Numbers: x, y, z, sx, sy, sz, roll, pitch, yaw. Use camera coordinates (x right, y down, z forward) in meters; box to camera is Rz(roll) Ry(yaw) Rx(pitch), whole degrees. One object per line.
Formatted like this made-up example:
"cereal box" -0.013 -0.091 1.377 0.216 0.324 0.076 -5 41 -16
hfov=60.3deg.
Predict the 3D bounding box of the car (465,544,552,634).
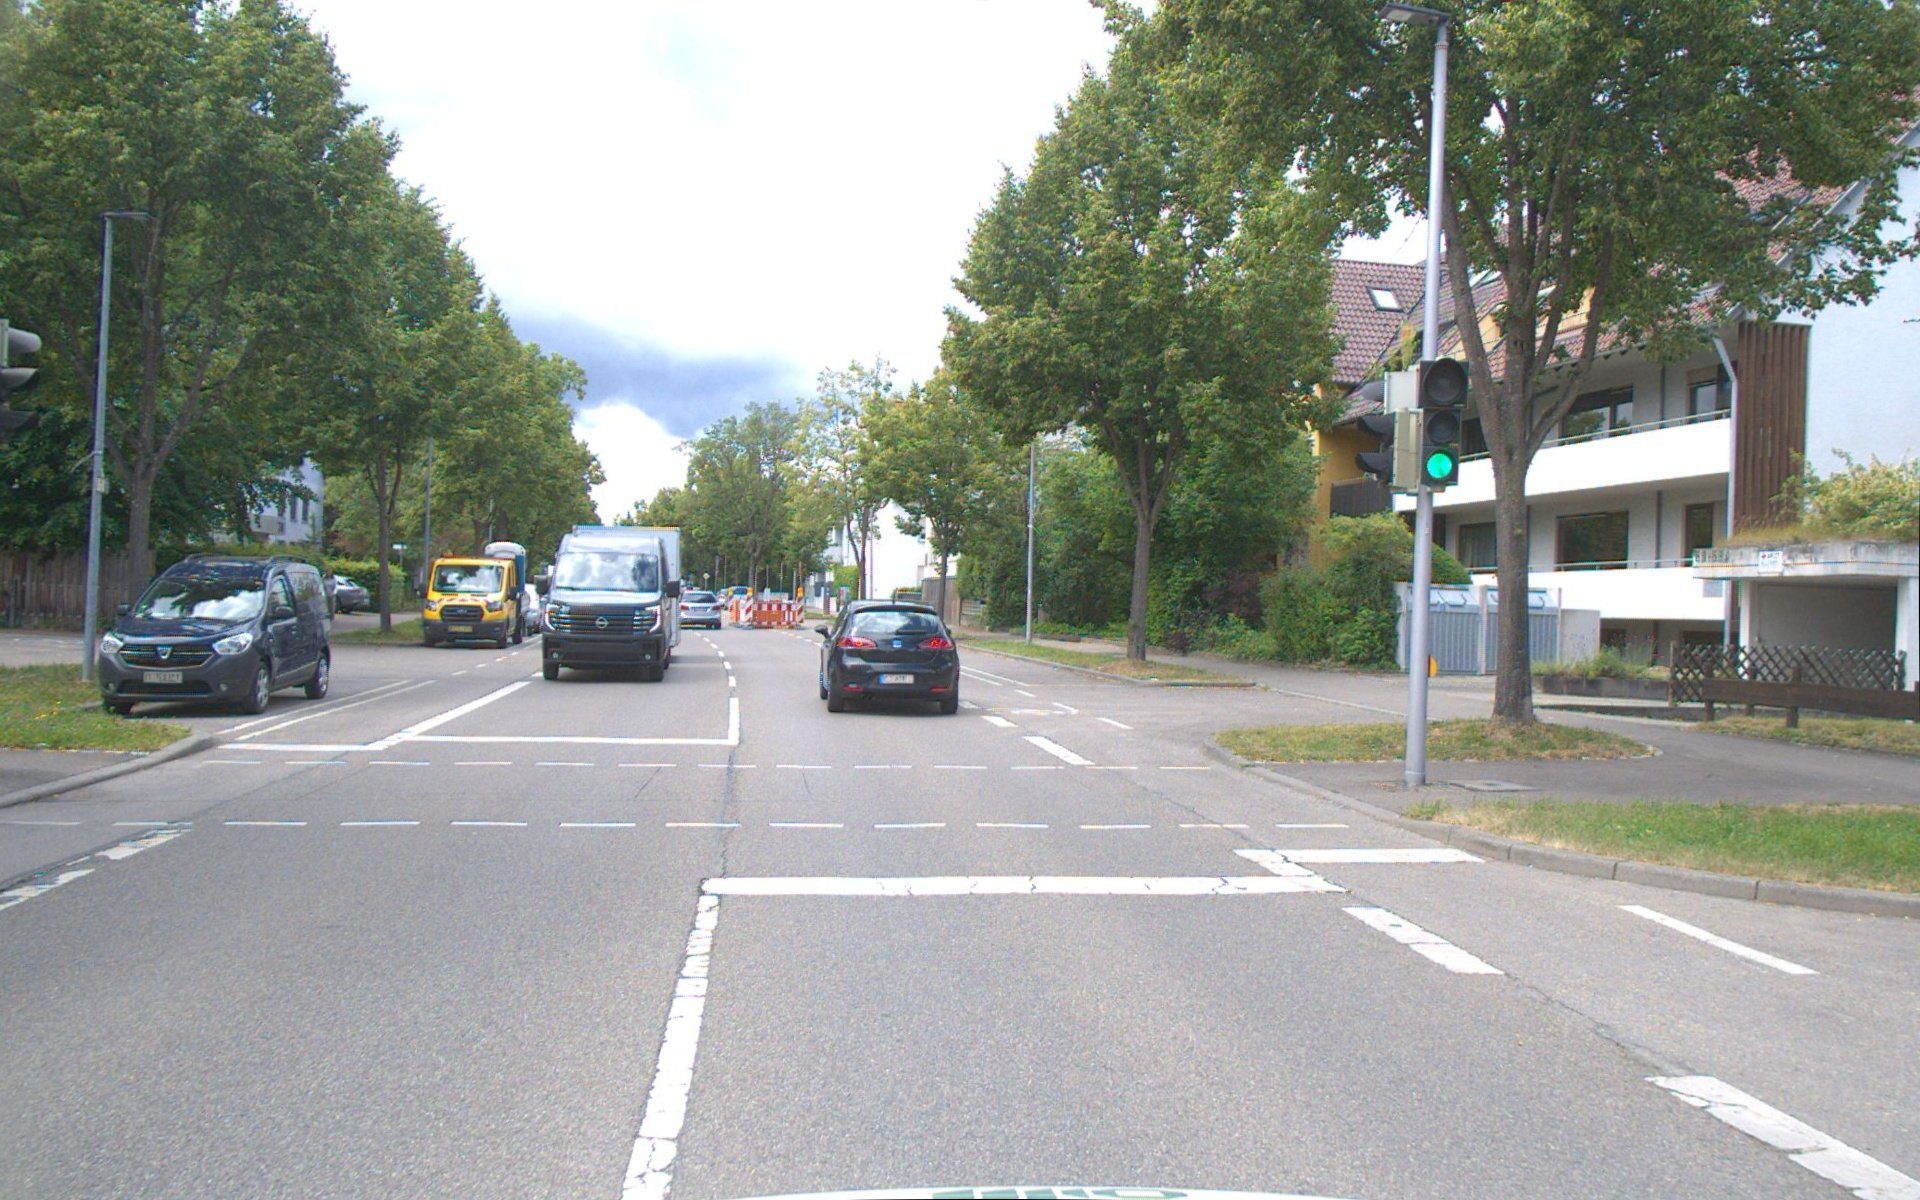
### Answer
"car" -14.235 -0.335 52.382 2.054 2.672 5.034 1 0 -9

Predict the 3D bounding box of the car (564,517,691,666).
"car" -6.955 -0.173 35.279 2.245 2.840 7.130 0 0 -8

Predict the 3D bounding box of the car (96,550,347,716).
"car" -8.891 0.349 20.304 1.636 1.803 4.459 0 0 -8

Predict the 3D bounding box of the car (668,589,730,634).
"car" -10.424 0.439 65.784 1.876 1.715 3.721 1 0 -18

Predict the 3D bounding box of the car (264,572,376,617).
"car" -24.025 -0.209 62.217 3.614 1.622 1.675 1 0 -9

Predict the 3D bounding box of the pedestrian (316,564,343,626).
"pedestrian" -18.311 -0.146 48.037 0.584 1.772 0.573 1 0 -10

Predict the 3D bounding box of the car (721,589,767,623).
"car" -9.780 0.250 74.649 1.778 1.440 3.682 1 0 -12

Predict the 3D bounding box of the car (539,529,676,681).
"car" -6.099 0.071 29.154 1.991 2.426 5.252 0 0 -8

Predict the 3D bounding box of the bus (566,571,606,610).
"bus" -22.269 -0.567 98.669 1.957 2.161 7.341 1 0 -10

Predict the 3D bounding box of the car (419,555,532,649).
"car" -12.207 0.036 41.951 2.054 2.213 5.034 1 0 -9

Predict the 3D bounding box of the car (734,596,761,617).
"car" -14.915 0.456 116.019 1.775 1.440 3.688 1 0 -6

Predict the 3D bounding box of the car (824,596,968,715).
"car" -0.891 0.689 22.511 1.782 1.463 3.737 1 0 -3
